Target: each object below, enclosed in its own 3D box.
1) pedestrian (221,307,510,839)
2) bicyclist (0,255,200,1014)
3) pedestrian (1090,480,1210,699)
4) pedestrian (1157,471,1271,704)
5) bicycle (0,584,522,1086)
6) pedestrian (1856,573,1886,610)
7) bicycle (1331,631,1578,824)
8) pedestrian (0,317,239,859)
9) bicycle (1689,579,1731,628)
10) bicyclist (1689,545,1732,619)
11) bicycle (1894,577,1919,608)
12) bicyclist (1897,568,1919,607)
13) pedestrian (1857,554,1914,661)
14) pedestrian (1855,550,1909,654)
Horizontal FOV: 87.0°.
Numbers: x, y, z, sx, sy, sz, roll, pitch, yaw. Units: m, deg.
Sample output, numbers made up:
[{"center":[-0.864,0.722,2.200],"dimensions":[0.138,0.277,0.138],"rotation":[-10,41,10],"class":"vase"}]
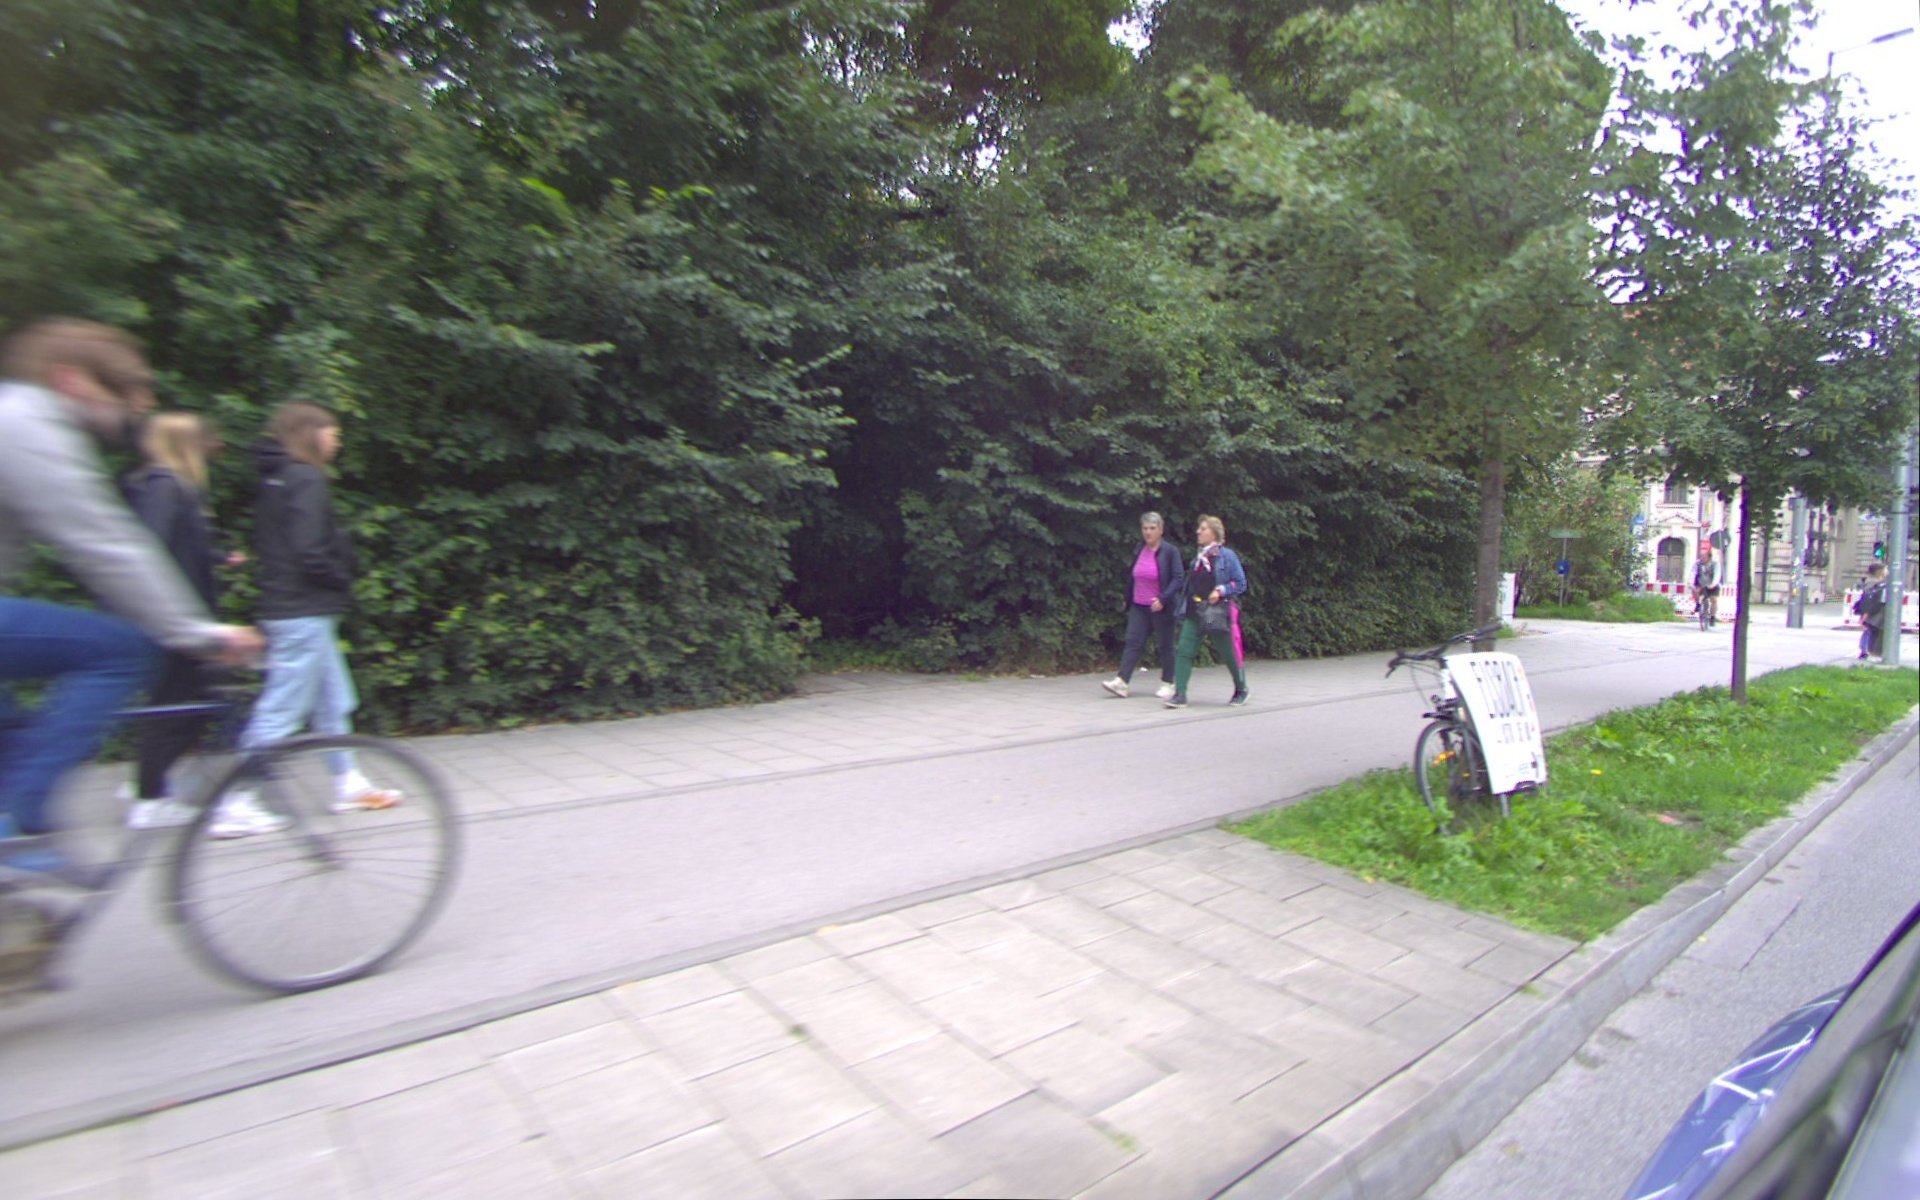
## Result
[{"center":[-2.503,-0.109,4.267],"dimensions":[0.940,1.939,0.709],"rotation":[0,1,-41],"class":"pedestrian"},{"center":[-2.214,0.066,2.389],"dimensions":[0.628,1.581,0.709],"rotation":[0,1,-41],"class":"bicyclist"},{"center":[1.713,-0.104,9.139],"dimensions":[0.743,1.862,0.752],"rotation":[0,1,-40],"class":"pedestrian"},{"center":[2.137,-0.110,8.528],"dimensions":[0.629,1.862,0.672],"rotation":[0,1,-40],"class":"pedestrian"},{"center":[-2.180,0.488,2.413],"dimensions":[1.978,1.043,0.676],"rotation":[0,2,-41],"class":"bicycle"},{"center":[45.394,-0.423,50.413],"dimensions":[1.063,1.786,0.763],"rotation":[2,1,42],"class":"pedestrian"},{"center":[2.691,0.605,5.402],"dimensions":[1.856,0.804,0.494],"rotation":[-1,2,-41],"class":"bicycle"},{"center":[-3.497,-0.051,4.046],"dimensions":[0.940,1.939,0.709],"rotation":[0,1,-41],"class":"pedestrian"},{"center":[17.314,0.061,23.361],"dimensions":[0.736,1.071,2.134],"rotation":[1,2,37],"class":"bicycle"},{"center":[17.386,-0.421,23.434],"dimensions":[0.755,1.687,0.887],"rotation":[1,1,37],"class":"bicyclist"},{"center":[32.668,-0.259,34.621],"dimensions":[2.022,1.019,0.830],"rotation":[0,2,-41],"class":"bicycle"},{"center":[32.716,-0.438,34.661],"dimensions":[0.878,1.329,0.807],"rotation":[0,1,-41],"class":"bicyclist"},{"center":[15.820,0.111,17.299],"dimensions":[0.625,1.782,0.625],"rotation":[0,3,-45],"class":"pedestrian"},{"center":[16.424,0.020,18.023],"dimensions":[0.609,1.782,0.625],"rotation":[4,3,45],"class":"pedestrian"}]
